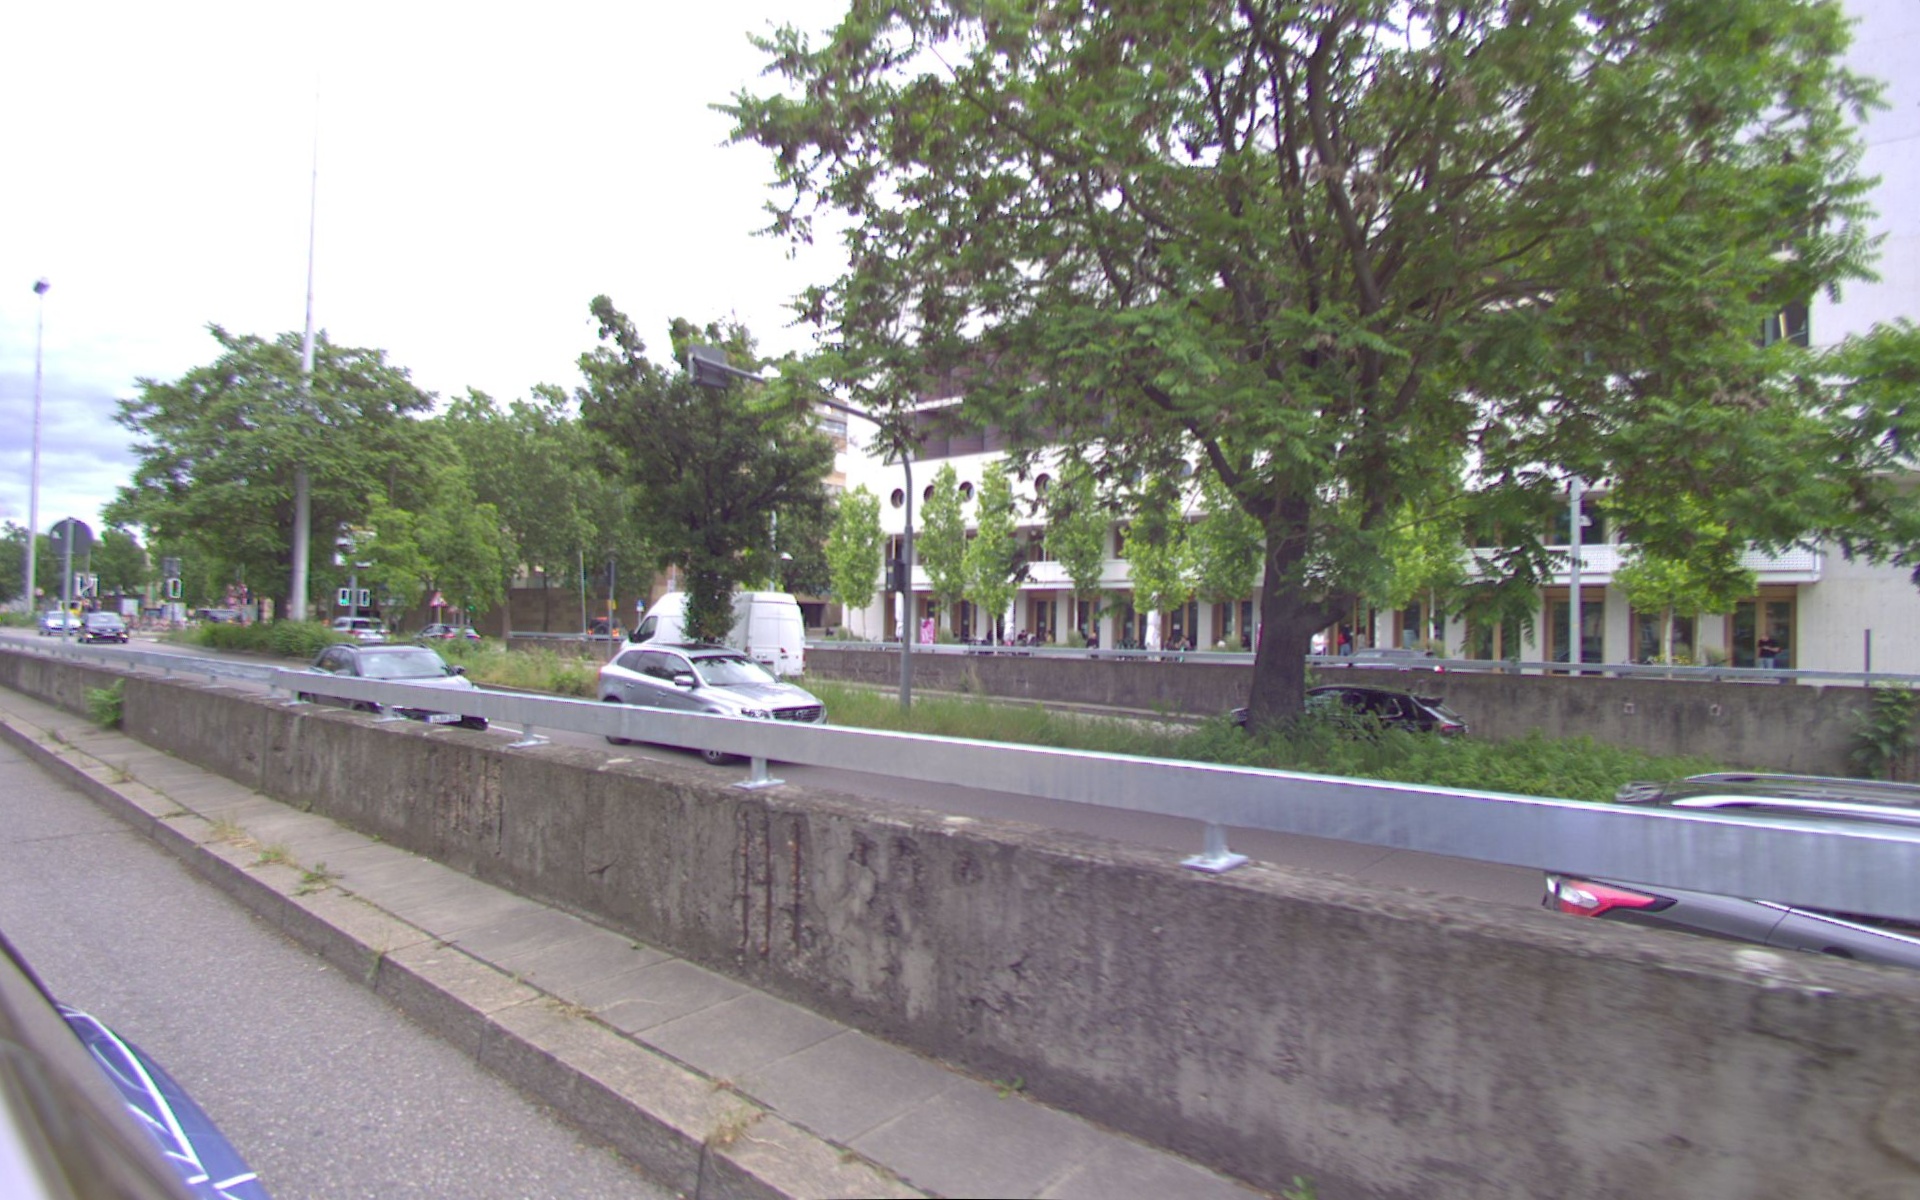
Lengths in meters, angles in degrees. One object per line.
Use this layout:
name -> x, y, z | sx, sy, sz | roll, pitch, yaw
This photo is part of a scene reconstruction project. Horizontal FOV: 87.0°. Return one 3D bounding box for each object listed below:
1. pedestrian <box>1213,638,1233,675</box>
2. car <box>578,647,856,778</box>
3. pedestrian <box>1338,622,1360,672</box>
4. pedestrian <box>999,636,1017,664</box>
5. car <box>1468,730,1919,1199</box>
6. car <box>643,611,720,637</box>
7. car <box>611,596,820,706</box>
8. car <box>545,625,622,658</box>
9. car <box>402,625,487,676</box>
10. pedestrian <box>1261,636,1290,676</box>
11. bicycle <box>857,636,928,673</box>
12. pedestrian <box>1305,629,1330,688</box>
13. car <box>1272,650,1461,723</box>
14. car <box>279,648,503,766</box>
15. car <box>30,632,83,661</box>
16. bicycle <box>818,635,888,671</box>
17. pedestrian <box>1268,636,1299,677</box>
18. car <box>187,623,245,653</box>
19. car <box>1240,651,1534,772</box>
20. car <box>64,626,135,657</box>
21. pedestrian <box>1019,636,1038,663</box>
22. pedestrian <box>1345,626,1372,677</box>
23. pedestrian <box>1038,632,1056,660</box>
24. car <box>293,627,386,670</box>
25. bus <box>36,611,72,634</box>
pedestrian -> 11.772, 2.528, 45.322 | 0.630, 1.646, 0.626 | 0, -2, 39
car -> -4.001, 1.653, 16.217 | 4.737, 1.629, 1.972 | 0, -1, 42
pedestrian -> 16.007, 1.937, 41.673 | 0.630, 2.029, 0.625 | 0, -5, 42
pedestrian -> 2.449, 2.551, 51.749 | 0.640, 1.337, 0.636 | 6, -7, -21
car -> 4.978, 1.660, 4.428 | 4.651, 1.728, 1.875 | -1, -2, 38
car -> -16.059, 1.382, 58.492 | 1.751, 1.285, 3.945 | 0, 2, 41
car -> -6.670, 1.220, 27.203 | 6.053, 2.543, 2.301 | 1, 1, 40
car -> -20.712, 2.267, 55.669 | 4.383, 1.730, 1.840 | -1, -3, 36
car -> -22.632, 2.157, 44.387 | 3.997, 2.029, 1.973 | 0, 0, 40
pedestrian -> 12.930, 2.301, 41.472 | 0.899, 1.534, 0.634 | 5, -3, 0
bicycle -> -3.178, 2.588, 48.183 | 1.182, 1.697, 3.576 | -2, -3, 40
pedestrian -> 12.432, 2.022, 35.224 | 0.630, 2.029, 0.626 | 0, 0, 42
car -> 10.923, 2.266, 27.352 | 4.389, 1.730, 1.838 | -1, -3, 40
car -> -9.358, 1.631, 16.539 | 4.147, 1.527, 1.746 | 0, -1, 38
car -> -54.962, 2.788, 61.546 | 3.998, 1.658, 1.973 | -1, -2, 41
bicycle -> -5.193, 2.569, 49.569 | 1.182, 1.697, 3.576 | -2, -3, 40
pedestrian -> 13.006, 2.265, 40.730 | 0.899, 1.534, 0.634 | 6, -1, 0
car -> -44.305, 2.249, 60.254 | 4.444, 1.730, 1.837 | -1, -3, 41
car -> 6.762, 1.664, 16.192 | 3.994, 1.498, 1.883 | 0, 0, 38
car -> -42.874, 2.043, 50.389 | 4.806, 1.494, 1.973 | -1, -2, 41
pedestrian -> 3.488, 2.502, 51.423 | 0.777, 1.337, 0.672 | 1, -2, -21
pedestrian -> 16.691, 2.140, 42.408 | 0.739, 2.028, 0.703 | 0, -10, 43
pedestrian -> 4.474, 2.372, 52.024 | 0.639, 1.337, 0.636 | 5, -7, -22
car -> -26.516, 2.038, 43.213 | 4.438, 1.730, 1.840 | -1, -3, 37
bus -> -140.358, 3.480, 156.721 | 10.444, 3.330, 2.882 | -1, -3, 41
